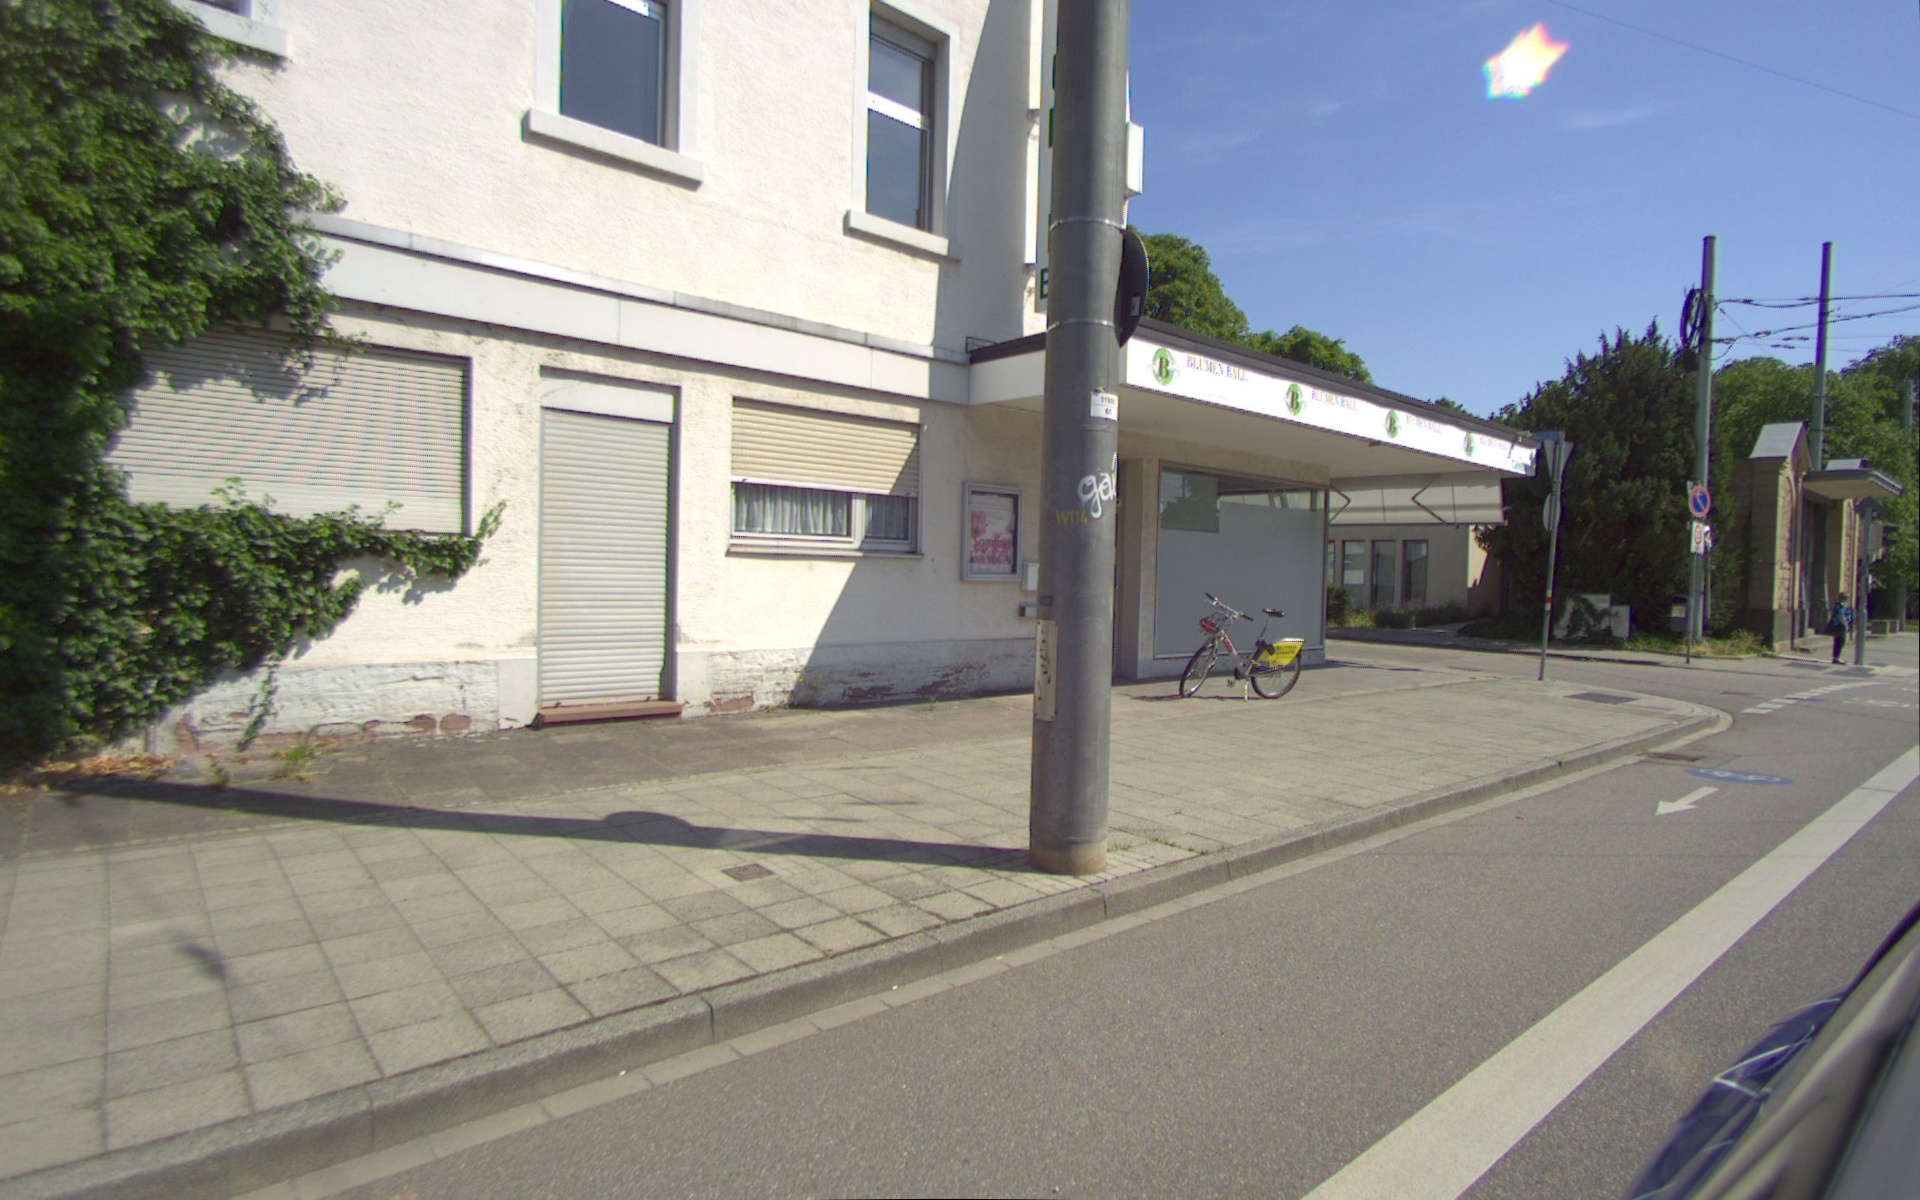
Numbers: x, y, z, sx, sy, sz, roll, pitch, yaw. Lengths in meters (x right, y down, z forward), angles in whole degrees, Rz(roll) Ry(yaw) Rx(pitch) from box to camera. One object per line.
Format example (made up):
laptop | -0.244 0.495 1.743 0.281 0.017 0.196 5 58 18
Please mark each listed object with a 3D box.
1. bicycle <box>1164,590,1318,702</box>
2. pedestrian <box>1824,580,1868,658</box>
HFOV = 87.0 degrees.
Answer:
bicycle | 3.096 0.488 11.137 1.655 1.148 0.513 1 2 -24
pedestrian | 19.160 0.404 21.882 0.490 1.646 0.501 1 3 -33
